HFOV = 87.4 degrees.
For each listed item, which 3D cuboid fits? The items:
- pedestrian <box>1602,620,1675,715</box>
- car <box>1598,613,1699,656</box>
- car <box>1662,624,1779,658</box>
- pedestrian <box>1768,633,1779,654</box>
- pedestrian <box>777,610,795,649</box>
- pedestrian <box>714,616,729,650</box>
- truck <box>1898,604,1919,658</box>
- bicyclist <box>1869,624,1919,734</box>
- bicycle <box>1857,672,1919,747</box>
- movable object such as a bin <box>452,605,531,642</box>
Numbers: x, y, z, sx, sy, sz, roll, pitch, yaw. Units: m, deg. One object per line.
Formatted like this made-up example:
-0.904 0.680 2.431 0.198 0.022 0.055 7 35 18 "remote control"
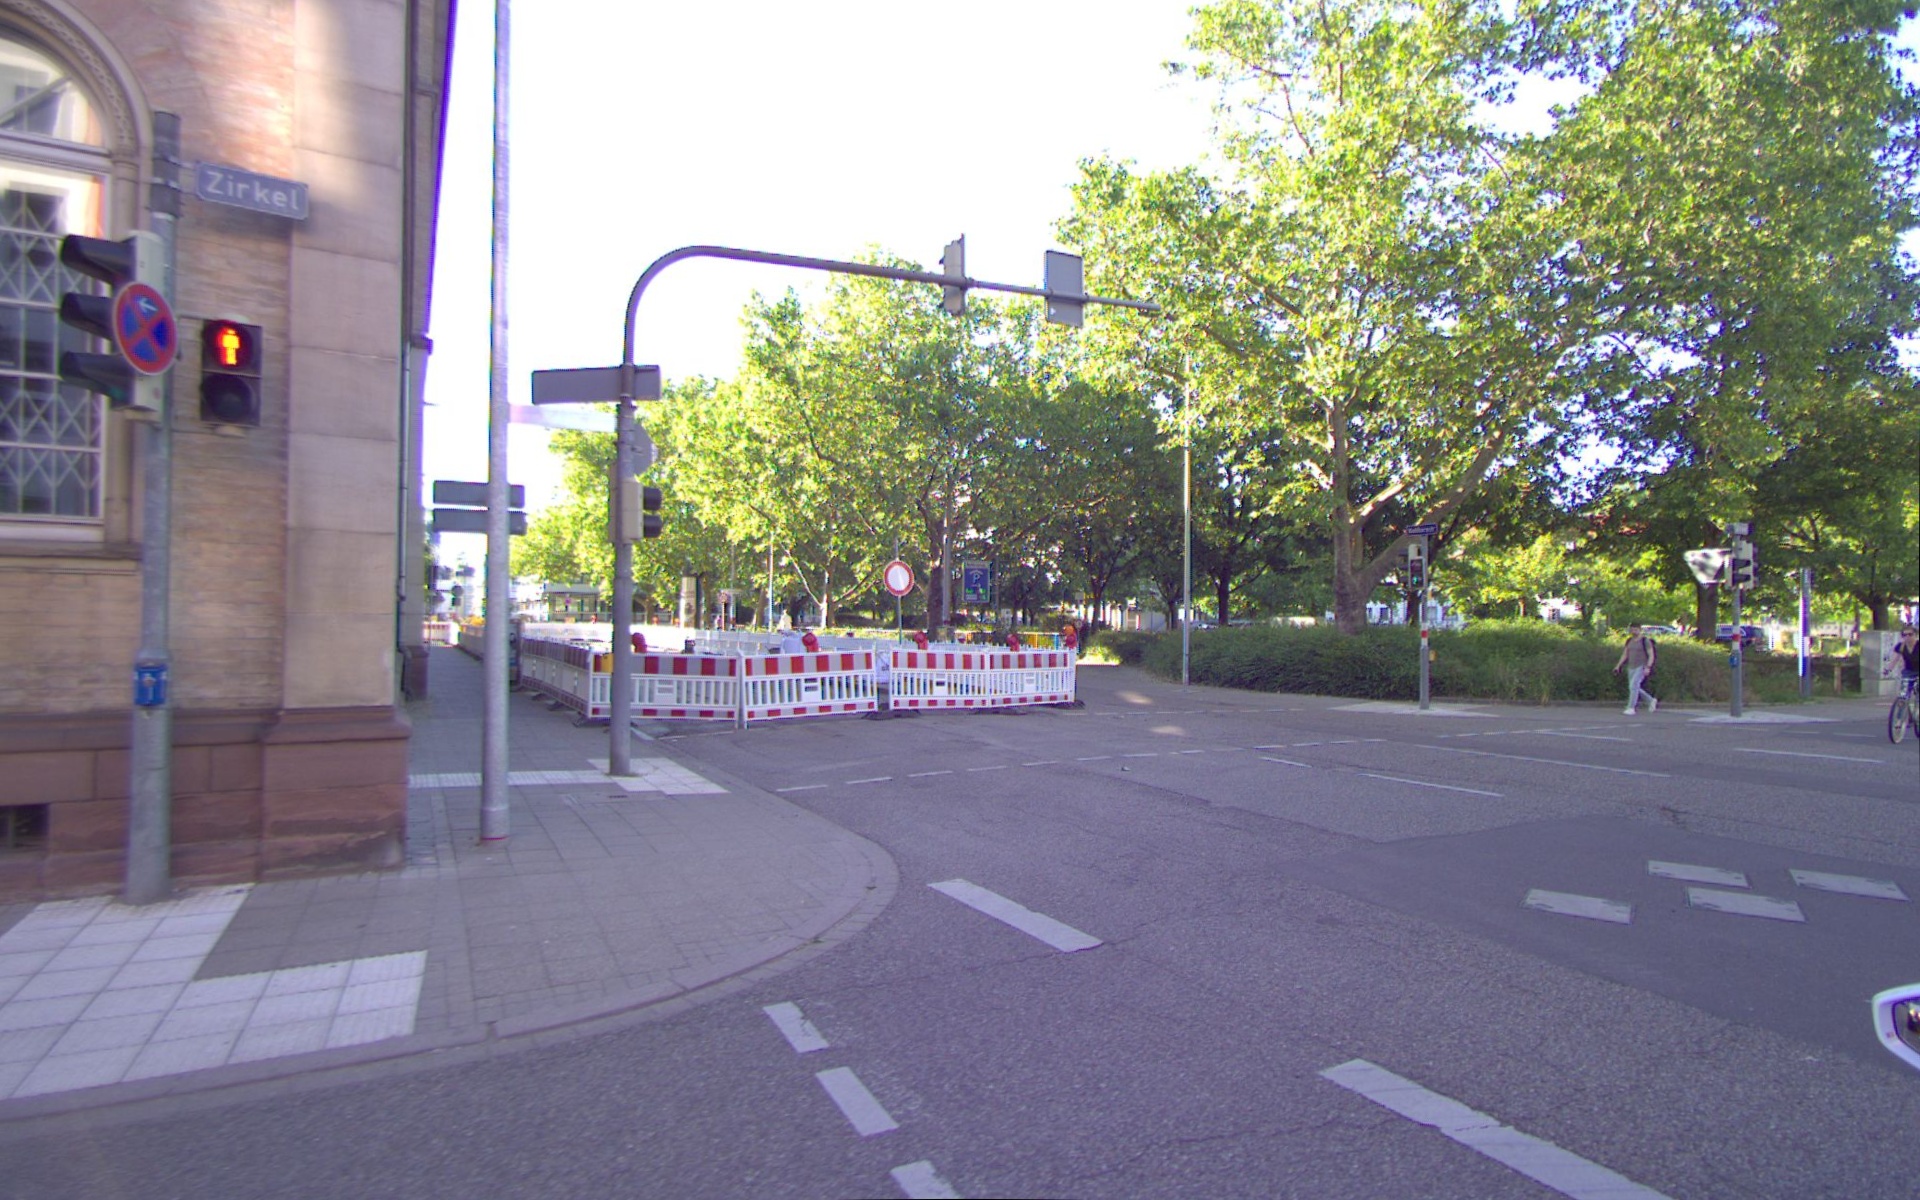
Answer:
12.751 1.258 18.882 0.940 1.745 0.703 1 -2 -18 "pedestrian"
40.945 2.063 59.815 2.051 2.423 4.532 2 -2 -31 "car"
40.235 2.152 53.237 2.051 1.753 4.532 2 -2 -31 "car"
53.908 2.864 66.551 0.551 1.341 0.574 0 -1 41 "pedestrian"
-9.037 1.536 52.235 0.641 2.040 0.818 1 -1 -35 "pedestrian"
-14.386 1.978 60.649 0.602 2.040 0.818 1 -1 -35 "pedestrian"
45.119 1.442 44.529 2.064 2.431 4.802 1 0 -32 "truck"
13.780 1.125 14.603 0.893 1.552 0.612 1 -1 -32 "bicyclist"
13.763 1.564 14.592 1.821 0.982 0.612 1 -1 -32 "bicycle"
-28.361 1.424 60.863 3.919 2.220 1.943 -1 -1 9 "movable object such as a bin"
